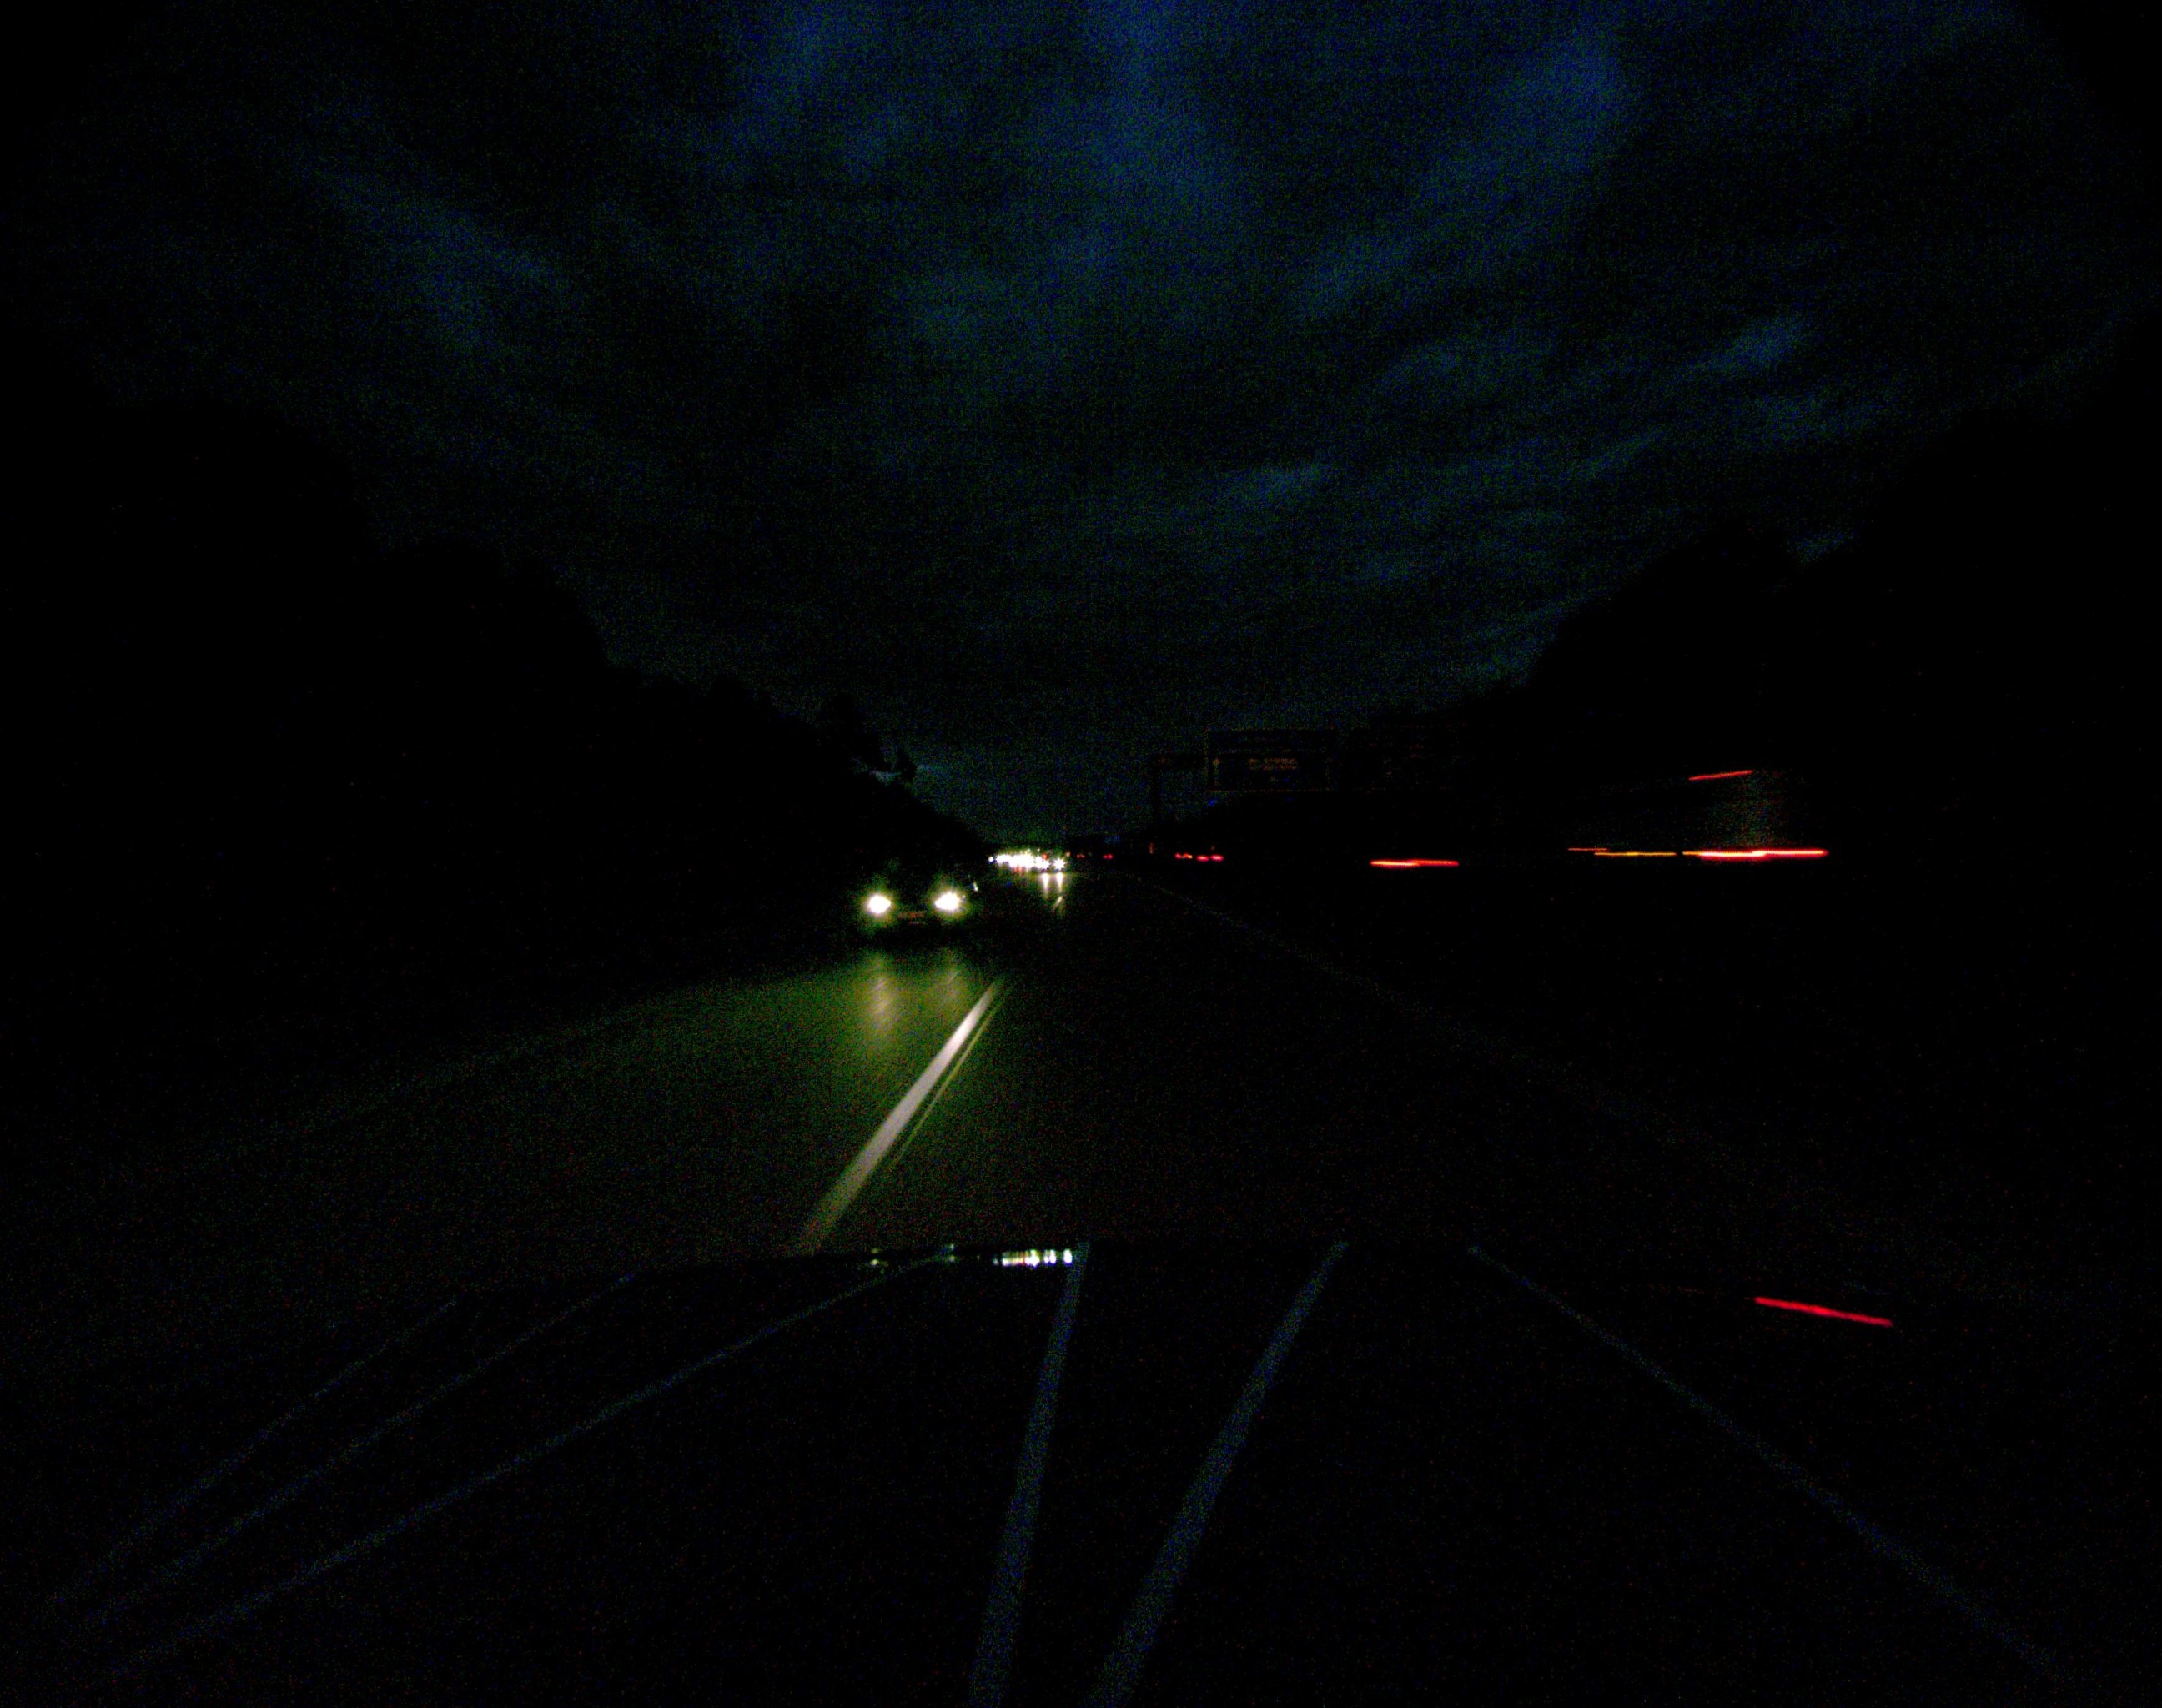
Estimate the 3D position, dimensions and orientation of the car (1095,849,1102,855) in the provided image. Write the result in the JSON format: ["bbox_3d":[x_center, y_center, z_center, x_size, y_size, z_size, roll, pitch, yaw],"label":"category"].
[{"bbox_3d":[5.996,-0.666,265.299,1.999,2.142,4.371,-2,0,-4],"label":"car"}]

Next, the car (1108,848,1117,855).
[{"bbox_3d":[8.504,-0.555,204.182,1.999,1.787,4.206,-2,0,-1],"label":"car"}]

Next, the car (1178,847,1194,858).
[{"bbox_3d":[17.055,-0.234,123.640,1.999,1.787,4.206,-2,0,-1],"label":"car"}]

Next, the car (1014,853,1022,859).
[{"bbox_3d":[-18.388,0.627,222.239,1.999,1.539,3.999,-2,0,-2],"label":"car"}]

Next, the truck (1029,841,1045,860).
[{"bbox_3d":[-9.544,-0.696,166.823,3.146,3.987,10.541,-2,0,-2],"label":"truck"}]

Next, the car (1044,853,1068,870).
[{"bbox_3d":[-2.402,0.673,73.587,1.998,1.539,4.000,-2,0,1],"label":"car"}]

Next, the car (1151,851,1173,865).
[{"bbox_3d":[9.346,0.440,87.999,1.999,1.428,4.372,-2,0,-2],"label":"car"}]

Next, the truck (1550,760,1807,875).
[{"bbox_3d":[24.415,-1.303,32.180,2.651,3.987,10.544,-2,0,1],"label":"truck"}]

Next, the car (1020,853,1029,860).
[{"bbox_3d":[-13.967,0.564,188.462,1.999,1.539,3.999,-2,0,-2],"label":"car"}]

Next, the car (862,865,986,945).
[{"bbox_3d":[-3.306,1.015,16.894,1.880,1.435,4.450,-2,0,-2],"label":"car"}]

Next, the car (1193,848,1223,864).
[{"bbox_3d":[11.632,0.180,69.774,1.742,1.402,4.805,-2,0,-2],"label":"car"}]

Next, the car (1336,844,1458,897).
[{"bbox_3d":[10.552,0.512,25.837,1.999,1.591,4.821,-2,0,-2],"label":"car"}]
